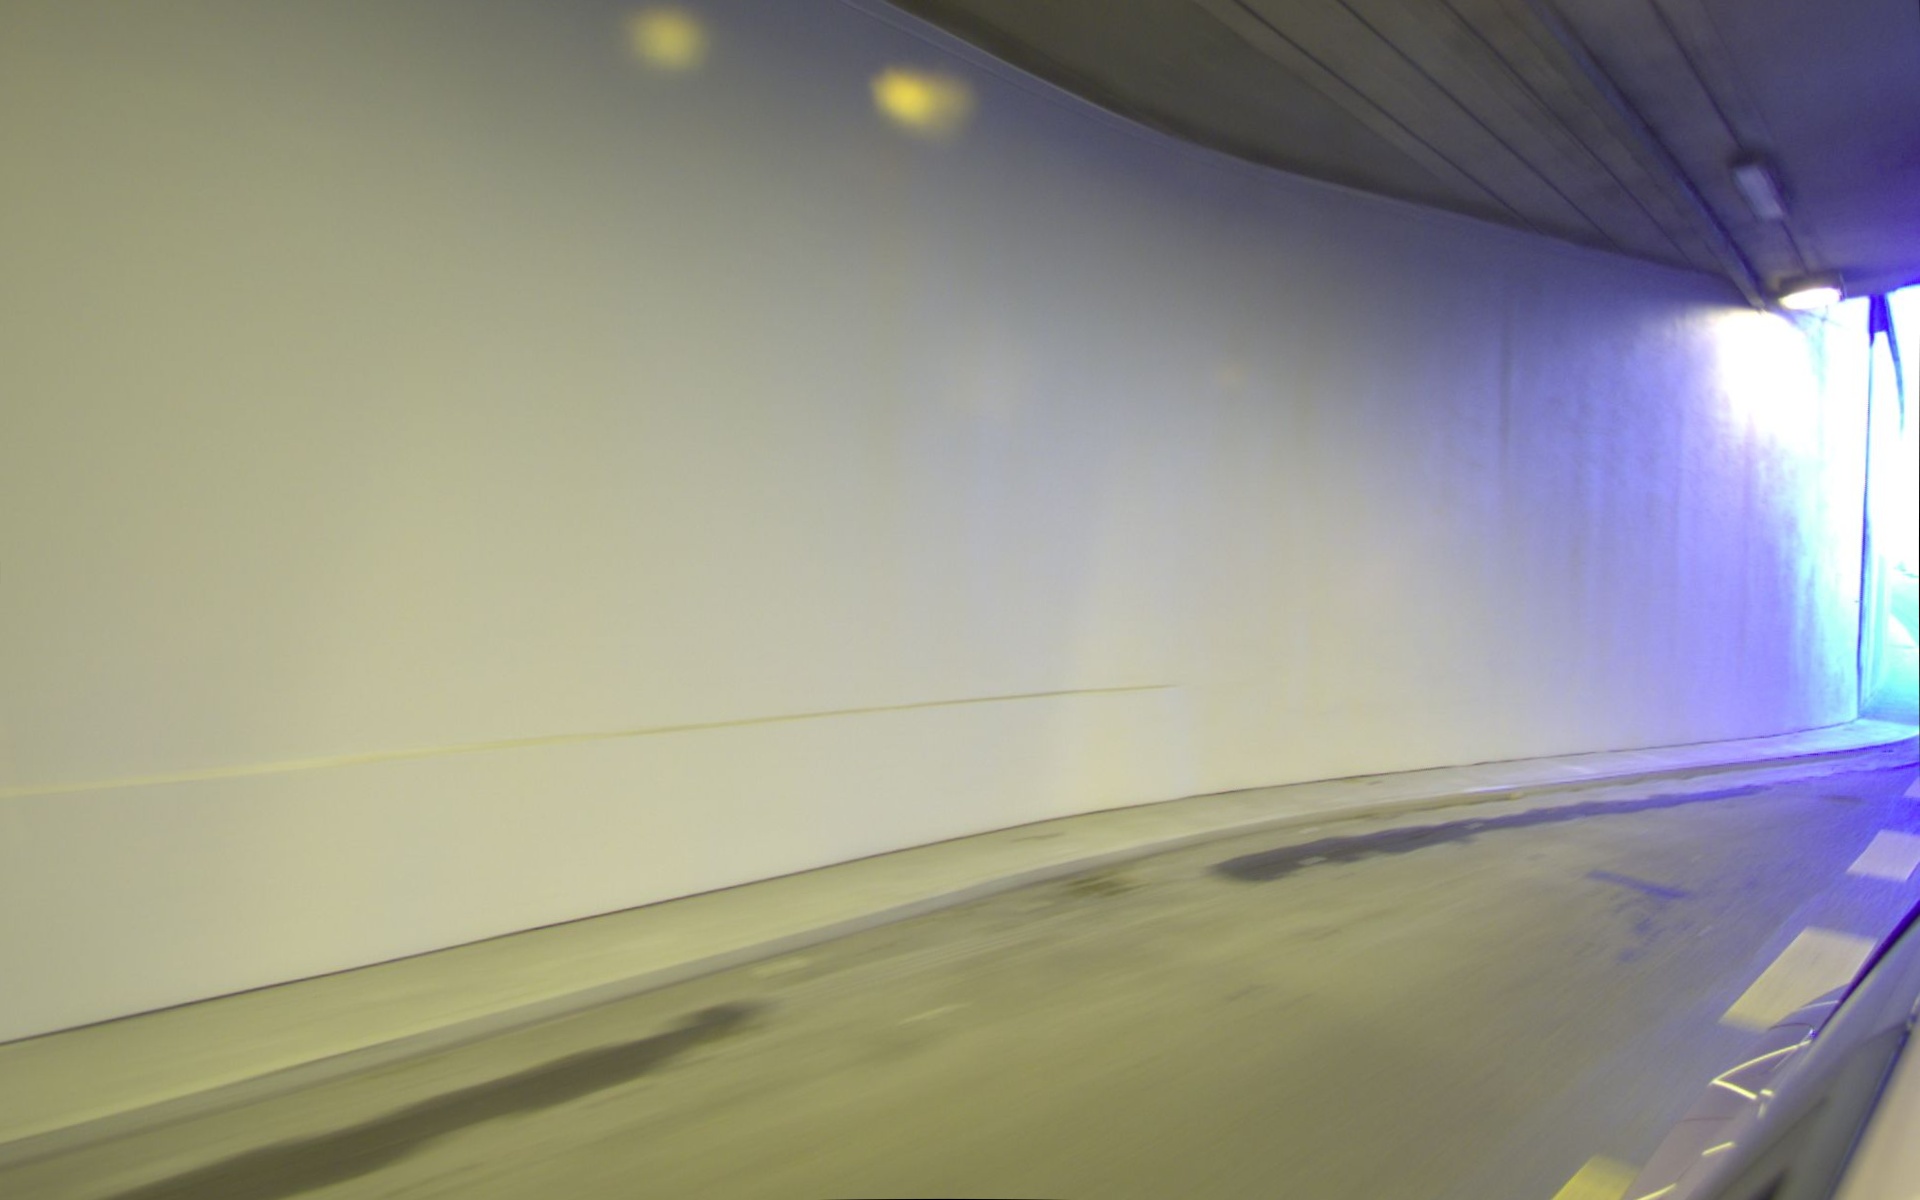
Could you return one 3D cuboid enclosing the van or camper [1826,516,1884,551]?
[{"bbox_3d":[72.456,-5.360,82.020,2.182,2.644,6.756,-1,3,30],"label":"van or camper"}]
